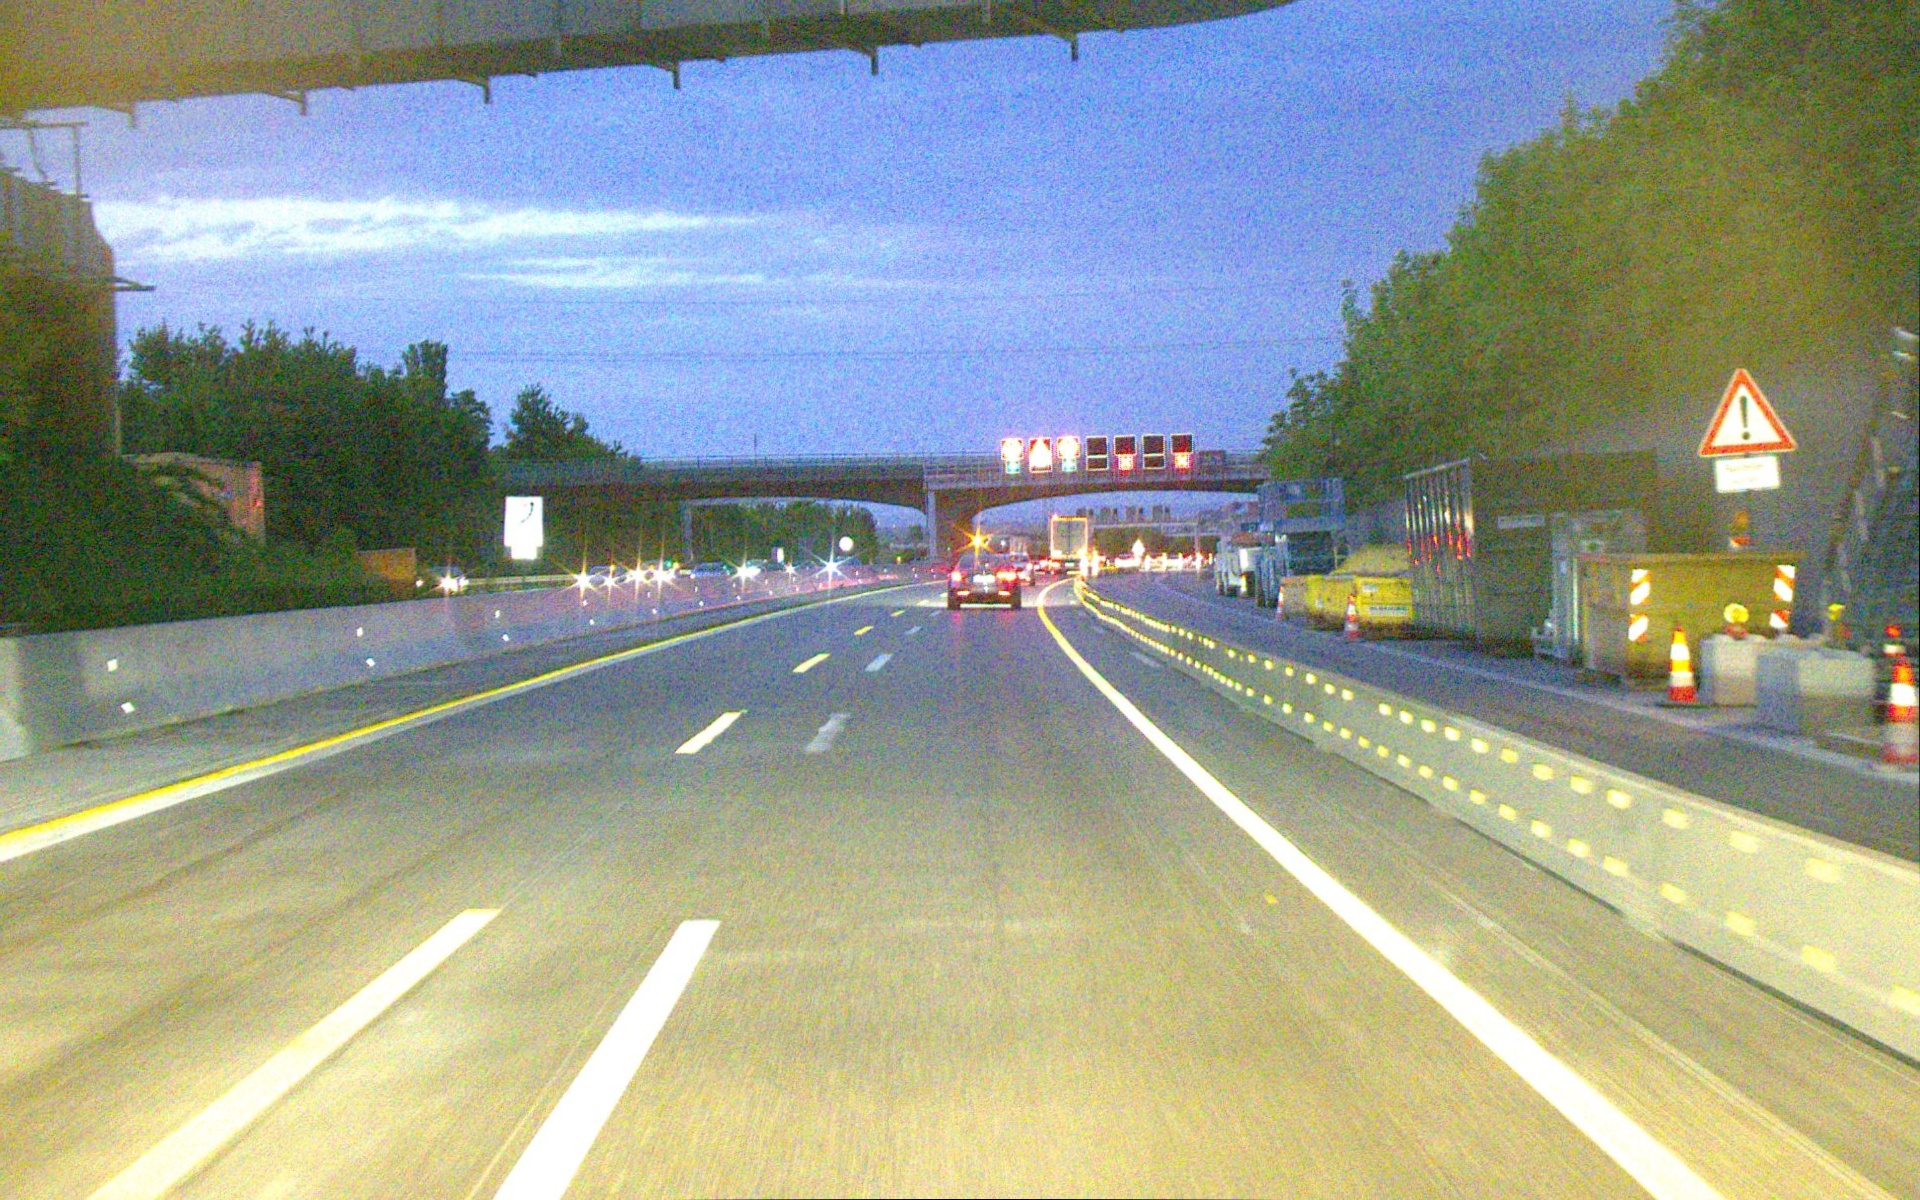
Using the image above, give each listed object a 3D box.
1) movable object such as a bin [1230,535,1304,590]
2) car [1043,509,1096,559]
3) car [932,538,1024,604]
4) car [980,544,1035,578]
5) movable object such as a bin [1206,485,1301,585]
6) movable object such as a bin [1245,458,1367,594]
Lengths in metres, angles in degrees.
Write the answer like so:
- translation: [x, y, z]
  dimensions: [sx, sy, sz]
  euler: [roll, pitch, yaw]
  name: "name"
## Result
- translation: [9.462, -1.149, 106.066]
  dimensions: [1.993, 1.596, 4.084]
  euler: [-2, 0, 2]
  name: "movable object such as a bin"
- translation: [7.729, -4.635, 241.740]
  dimensions: [3.605, 3.384, 8.013]
  euler: [1, 1, 3]
  name: "car"
- translation: [0.481, -0.748, 88.075]
  dimensions: [2.265, 1.616, 4.000]
  euler: [1, 1, 1]
  name: "car"
- translation: [2.077, -1.688, 149.256]
  dimensions: [1.972, 1.432, 3.999]
  euler: [1, 1, 7]
  name: "car"
- translation: [9.428, -2.065, 111.021]
  dimensions: [2.621, 3.097, 5.806]
  euler: [-1, 0, 1]
  name: "movable object such as a bin"
- translation: [8.814, -1.869, 88.071]
  dimensions: [2.564, 3.307, 5.579]
  euler: [-2, 0, 1]
  name: "movable object such as a bin"
